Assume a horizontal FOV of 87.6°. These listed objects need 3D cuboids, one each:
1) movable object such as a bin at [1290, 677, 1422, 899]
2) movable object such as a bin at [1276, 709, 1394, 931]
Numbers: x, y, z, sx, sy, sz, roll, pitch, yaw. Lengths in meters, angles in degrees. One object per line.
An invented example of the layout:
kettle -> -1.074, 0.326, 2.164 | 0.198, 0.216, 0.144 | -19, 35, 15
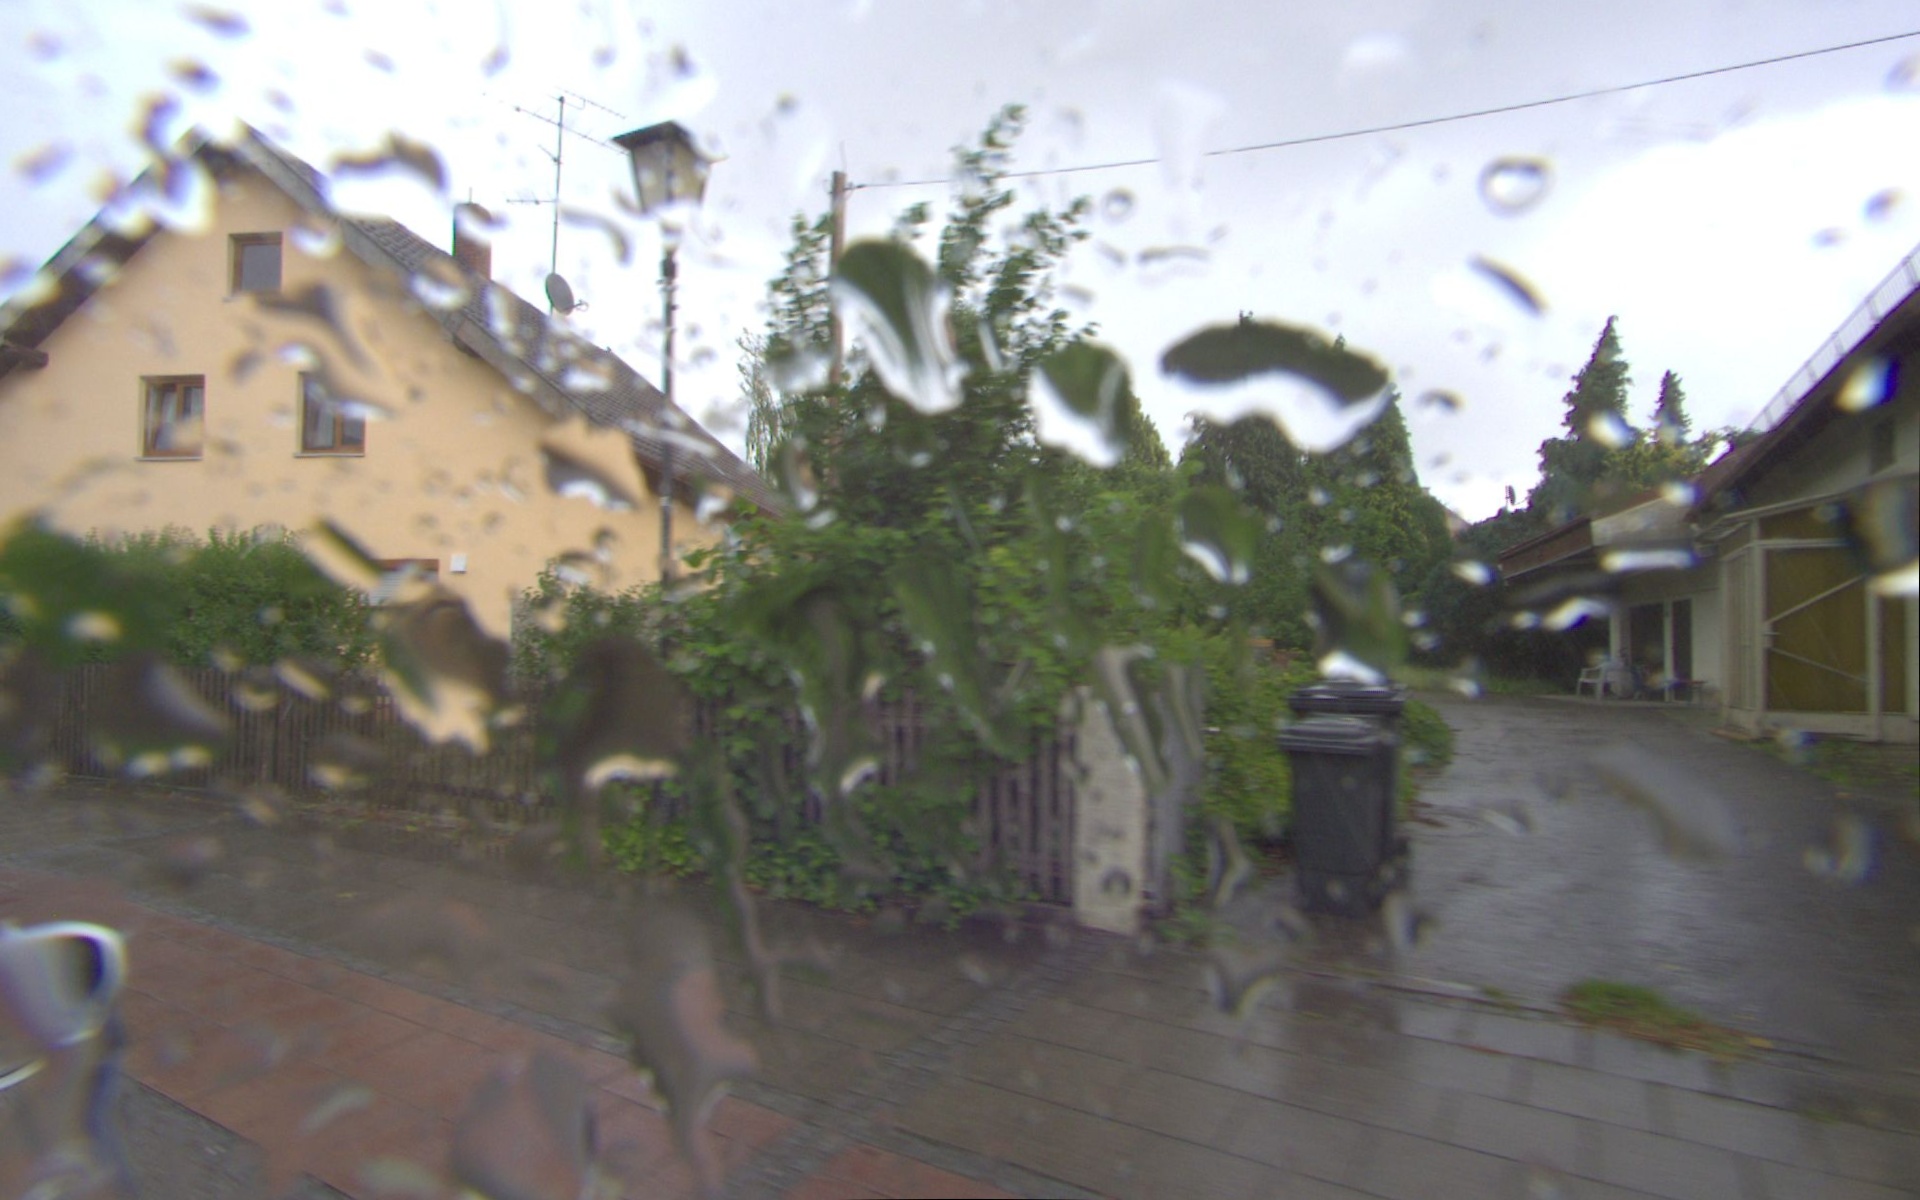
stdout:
movable object such as a bin -> 2.136, 0.970, 5.384 | 0.545, 1.054, 0.574 | -1, 1, 33
movable object such as a bin -> 1.812, 1.027, 4.829 | 0.440, 0.948, 0.432 | -1, 1, 33
